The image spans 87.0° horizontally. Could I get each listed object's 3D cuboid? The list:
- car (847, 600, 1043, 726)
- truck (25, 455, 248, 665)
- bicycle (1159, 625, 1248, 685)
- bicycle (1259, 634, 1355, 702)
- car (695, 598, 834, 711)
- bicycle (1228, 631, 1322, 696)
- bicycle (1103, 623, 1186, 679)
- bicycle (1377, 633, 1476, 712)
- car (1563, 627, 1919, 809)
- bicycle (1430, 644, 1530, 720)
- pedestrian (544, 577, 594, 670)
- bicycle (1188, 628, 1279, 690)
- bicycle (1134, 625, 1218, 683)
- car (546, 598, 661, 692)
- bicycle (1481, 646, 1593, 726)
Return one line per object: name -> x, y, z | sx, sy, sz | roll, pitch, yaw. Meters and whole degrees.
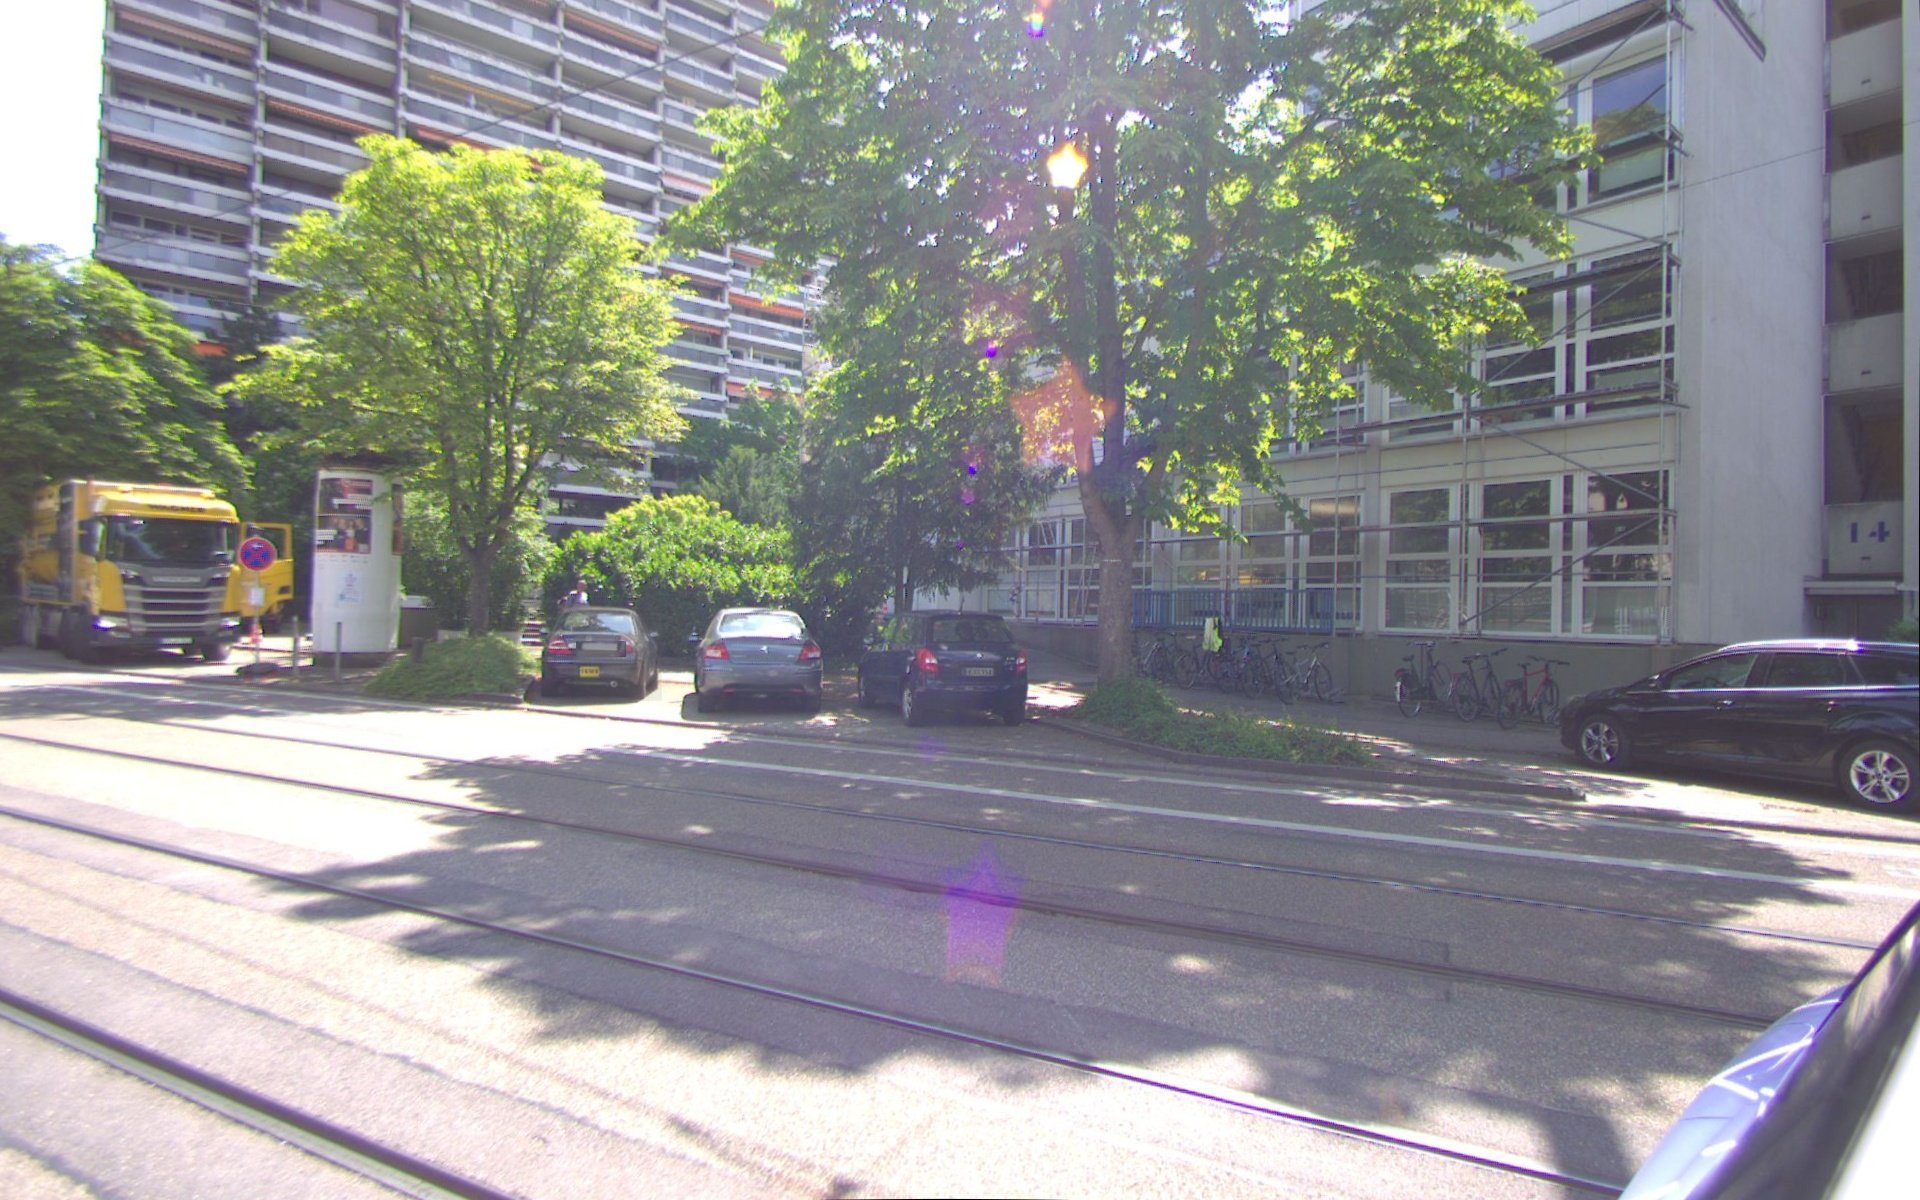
car -> -0.344, 0.807, 14.271 | 1.615, 1.536, 3.582 | 2, -1, -20
truck -> -19.713, -0.780, 23.922 | 9.709, 4.057, 2.708 | 0, -1, 43
bicycle -> 4.894, 1.105, 20.302 | 1.890, 1.145, 0.569 | 2, -2, -33
bicycle -> 6.251, 1.206, 18.169 | 1.905, 1.145, 0.569 | 2, -2, -33
car -> -3.099, 0.762, 15.498 | 1.781, 1.481, 4.030 | 2, -1, -14
bicycle -> 5.889, 1.175, 18.877 | 1.905, 1.145, 0.569 | 2, -2, -33
bicycle -> 3.939, 1.077, 21.517 | 1.891, 1.145, 0.568 | 2, -2, -36
bicycle -> 7.799, 1.195, 16.895 | 1.905, 1.253, 0.569 | 2, -2, -33
car -> 8.548, 1.074, 10.094 | 1.717, 1.489, 4.205 | 2, -1, -20
bicycle -> 8.440, 1.306, 16.404 | 1.905, 1.145, 0.569 | 2, -2, -33
pedestrian -> -8.130, 0.484, 21.042 | 0.575, 1.899, 0.705 | 0, -2, 40
bicycle -> 5.339, 1.147, 19.698 | 1.905, 1.145, 0.569 | 2, -2, -33
bicycle -> 4.480, 1.110, 20.954 | 1.891, 1.145, 0.568 | 2, -2, -36
car -> -6.064, 0.708, 17.131 | 1.595, 1.390, 4.030 | 2, -1, -21
bicycle -> 8.974, 1.313, 15.705 | 2.191, 1.145, 0.569 | 2, -2, -33
